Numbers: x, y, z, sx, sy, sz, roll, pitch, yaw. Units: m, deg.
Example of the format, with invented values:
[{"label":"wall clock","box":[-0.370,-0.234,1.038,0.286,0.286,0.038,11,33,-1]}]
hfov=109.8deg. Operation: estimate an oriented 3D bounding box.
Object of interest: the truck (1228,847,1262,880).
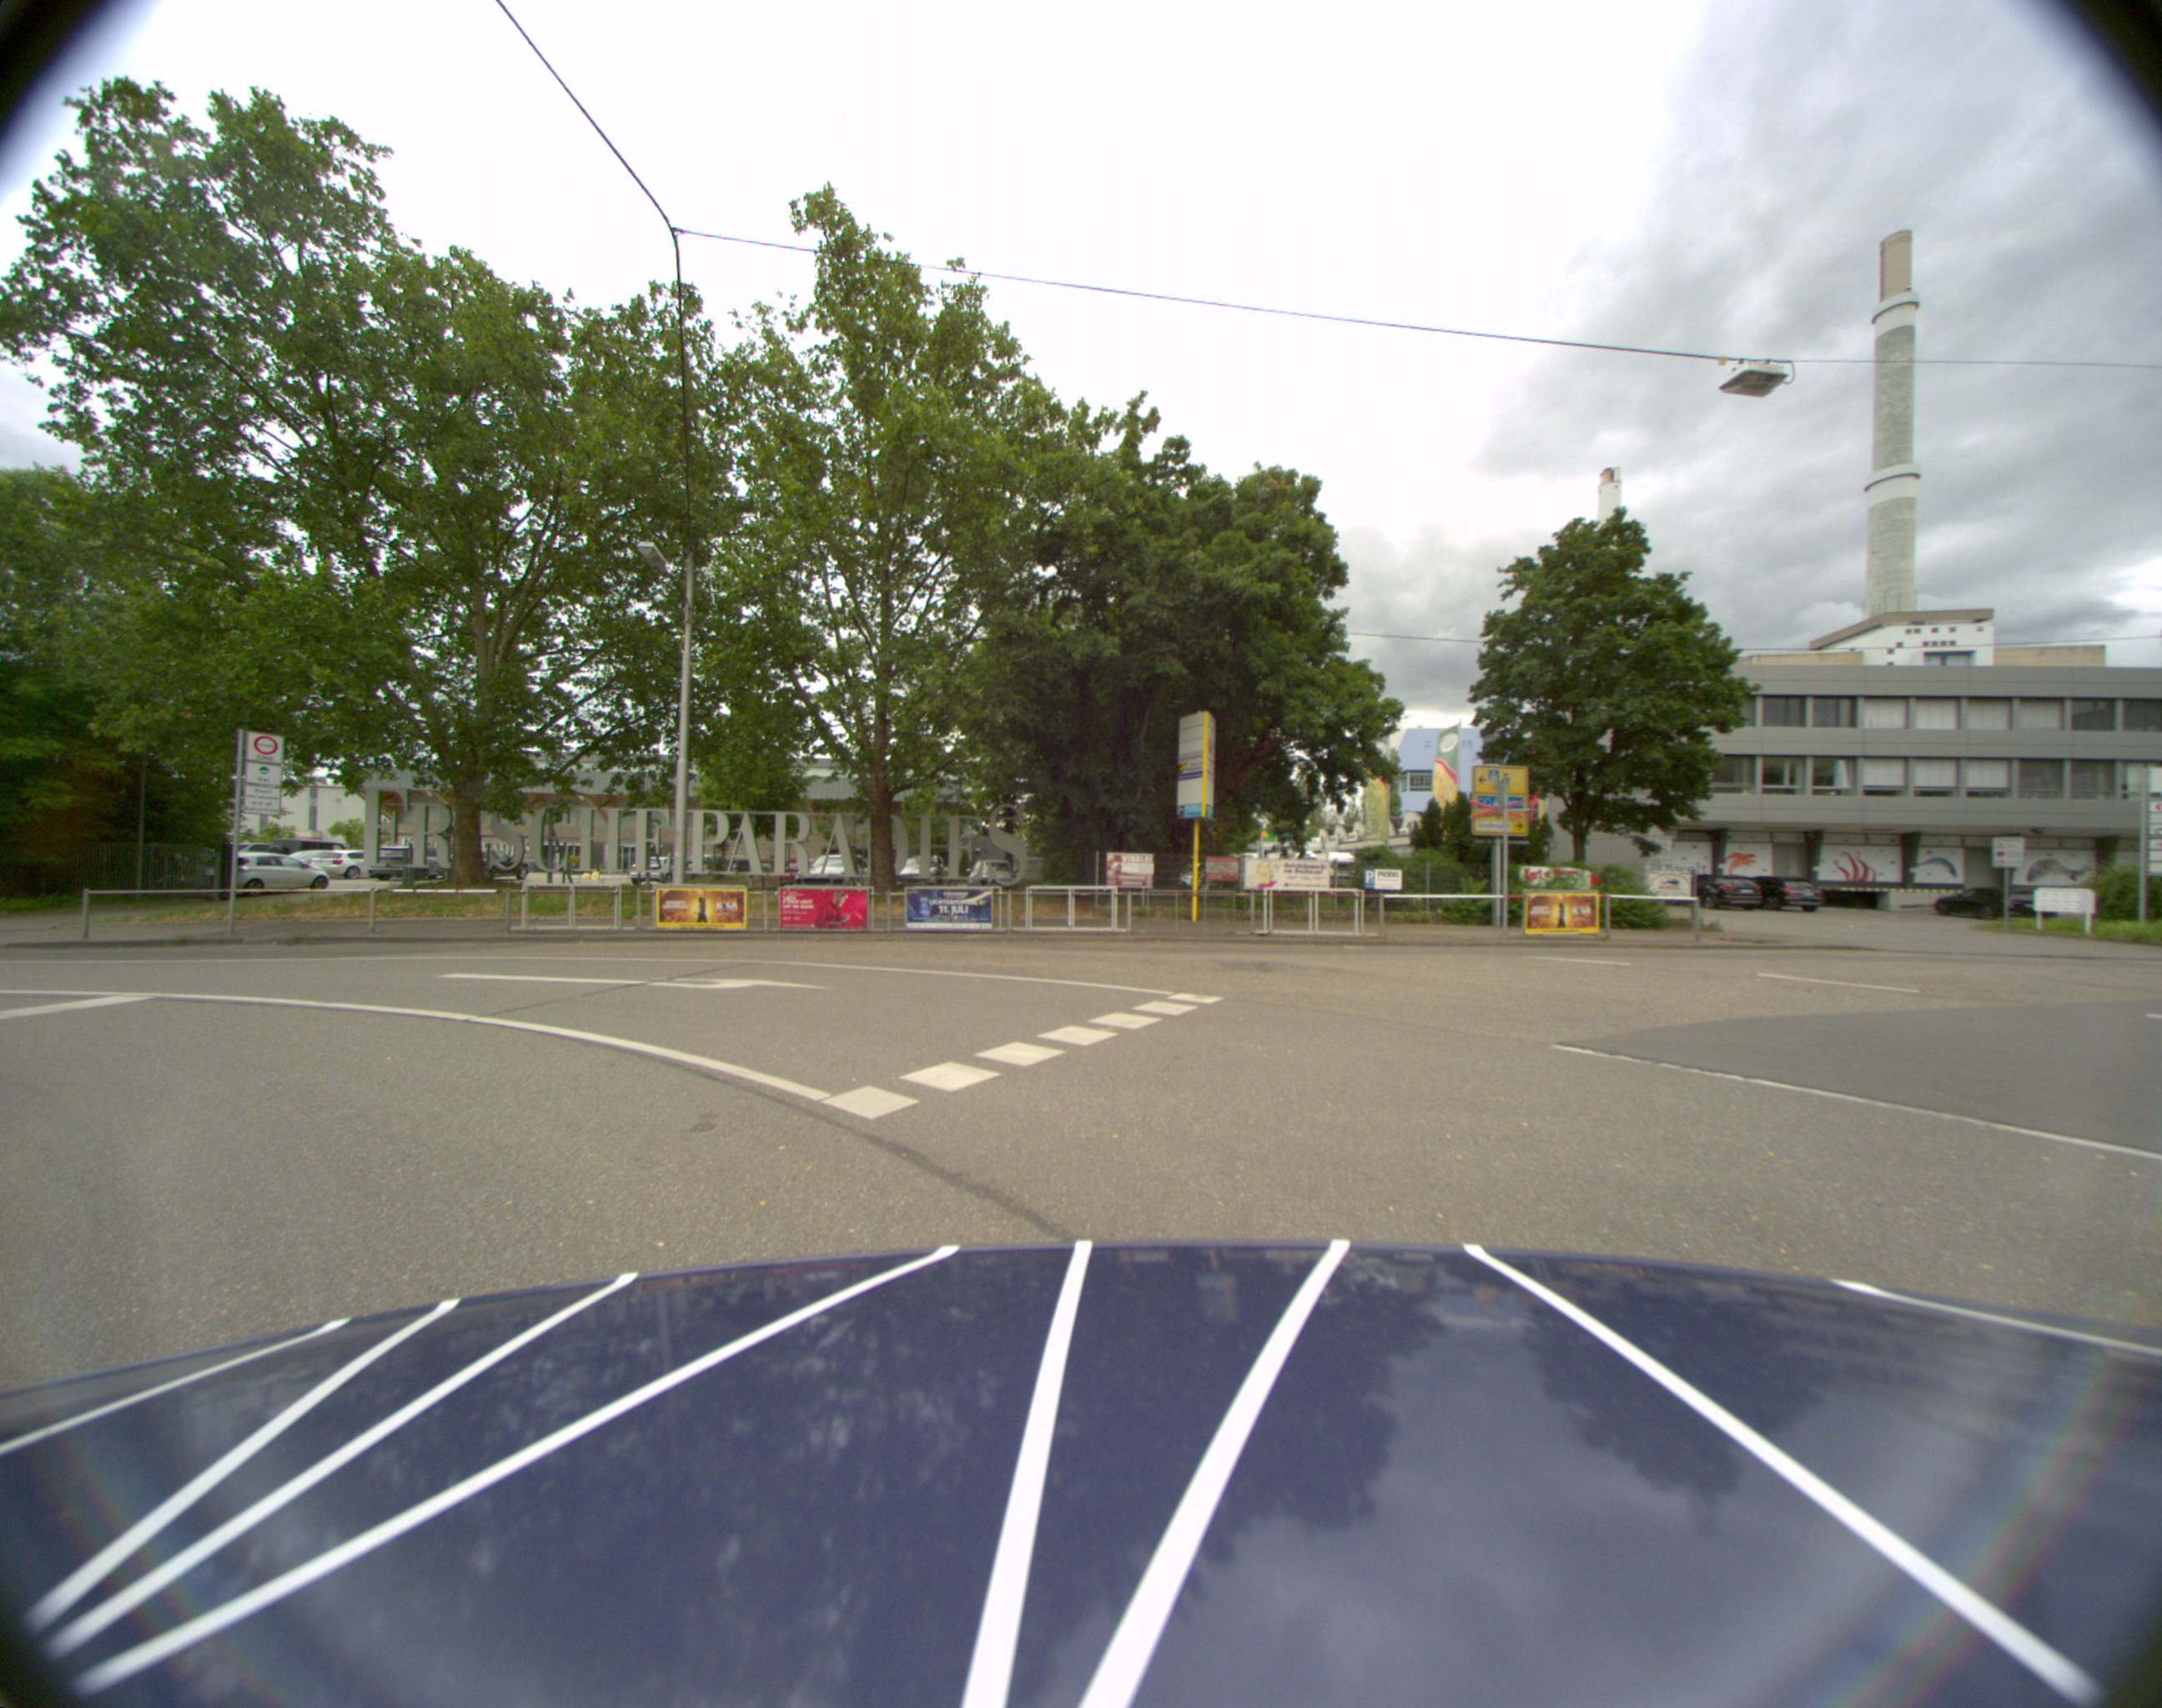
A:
[{"label":"truck","box":[21.489,1.237,100.105,2.996,4.141,9.192,1,-1,3]}]

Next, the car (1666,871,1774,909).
[{"label":"car","box":[31.530,1.751,37.698,1.837,1.608,4.467,2,0,6]}]

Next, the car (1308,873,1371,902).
[{"label":"car","box":[12.025,1.538,35.602,1.708,1.241,3.702,2,-1,1]}]

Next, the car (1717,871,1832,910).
[{"label":"car","box":[34.195,1.752,37.667,1.837,1.608,4.425,2,0,5]}]

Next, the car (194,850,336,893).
[{"label":"car","box":[-30.669,0.655,28.715,1.481,1.495,3.729,1,-1,-4]}]

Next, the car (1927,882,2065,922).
[{"label":"car","box":[42.291,2.150,35.301,2.045,1.437,4.836,1,1,22]}]

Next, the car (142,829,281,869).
[{"label":"car","box":[-47.072,-0.221,41.337,1.999,2.001,4.824,1,-1,-1]}]

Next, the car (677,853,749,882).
[{"label":"car","box":[-21.423,0.805,44.465,1.999,1.552,4.641,1,-1,-1]}]

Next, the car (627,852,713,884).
[{"label":"car","box":[-21.276,0.725,39.575,1.999,1.552,4.641,1,-1,-1]}]

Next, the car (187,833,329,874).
[{"label":"car","box":[-43.663,0.019,40.537,1.999,1.986,5.102,1,-1,-1]}]

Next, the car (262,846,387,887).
[{"label":"car","box":[-39.866,0.679,40.234,1.999,2.001,4.641,1,-1,-1]}]

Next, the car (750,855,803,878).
[{"label":"car","box":[-22.091,0.891,55.297,1.999,1.552,4.641,1,-1,-1]}]

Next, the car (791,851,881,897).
[{"label":"car","box":[-9.173,0.767,28.839,1.883,1.603,4.527,1,-2,1]}]

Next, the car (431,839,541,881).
[{"label":"car","box":[-30.611,0.339,39.294,1.999,2.001,4.641,1,-1,-1]}]

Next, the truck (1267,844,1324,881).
[{"label":"truck","box":[25.501,1.087,91.187,2.849,3.909,15.734,2,-1,2]}]

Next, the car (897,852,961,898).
[{"label":"car","box":[-5.635,0.797,28.635,1.591,1.603,4.318,1,-2,-1]}]

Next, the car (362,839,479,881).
[{"label":"car","box":[-33.800,0.344,39.090,1.999,2.001,4.641,1,-1,-1]}]

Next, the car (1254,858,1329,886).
[{"label":"car","box":[21.992,1.848,79.556,7.146,2.716,2.245,2,-1,4]}]

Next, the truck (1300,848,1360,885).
[{"label":"truck","box":[29.564,1.492,91.071,2.870,4.001,15.858,2,-1,4]}]

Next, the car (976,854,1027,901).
[{"label":"car","box":[-2.931,0.888,28.702,1.591,1.603,4.000,1,-2,-2]}]

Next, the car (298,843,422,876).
[{"label":"car","box":[-37.241,0.314,39.434,1.999,1.549,4.641,1,-1,-1]}]
